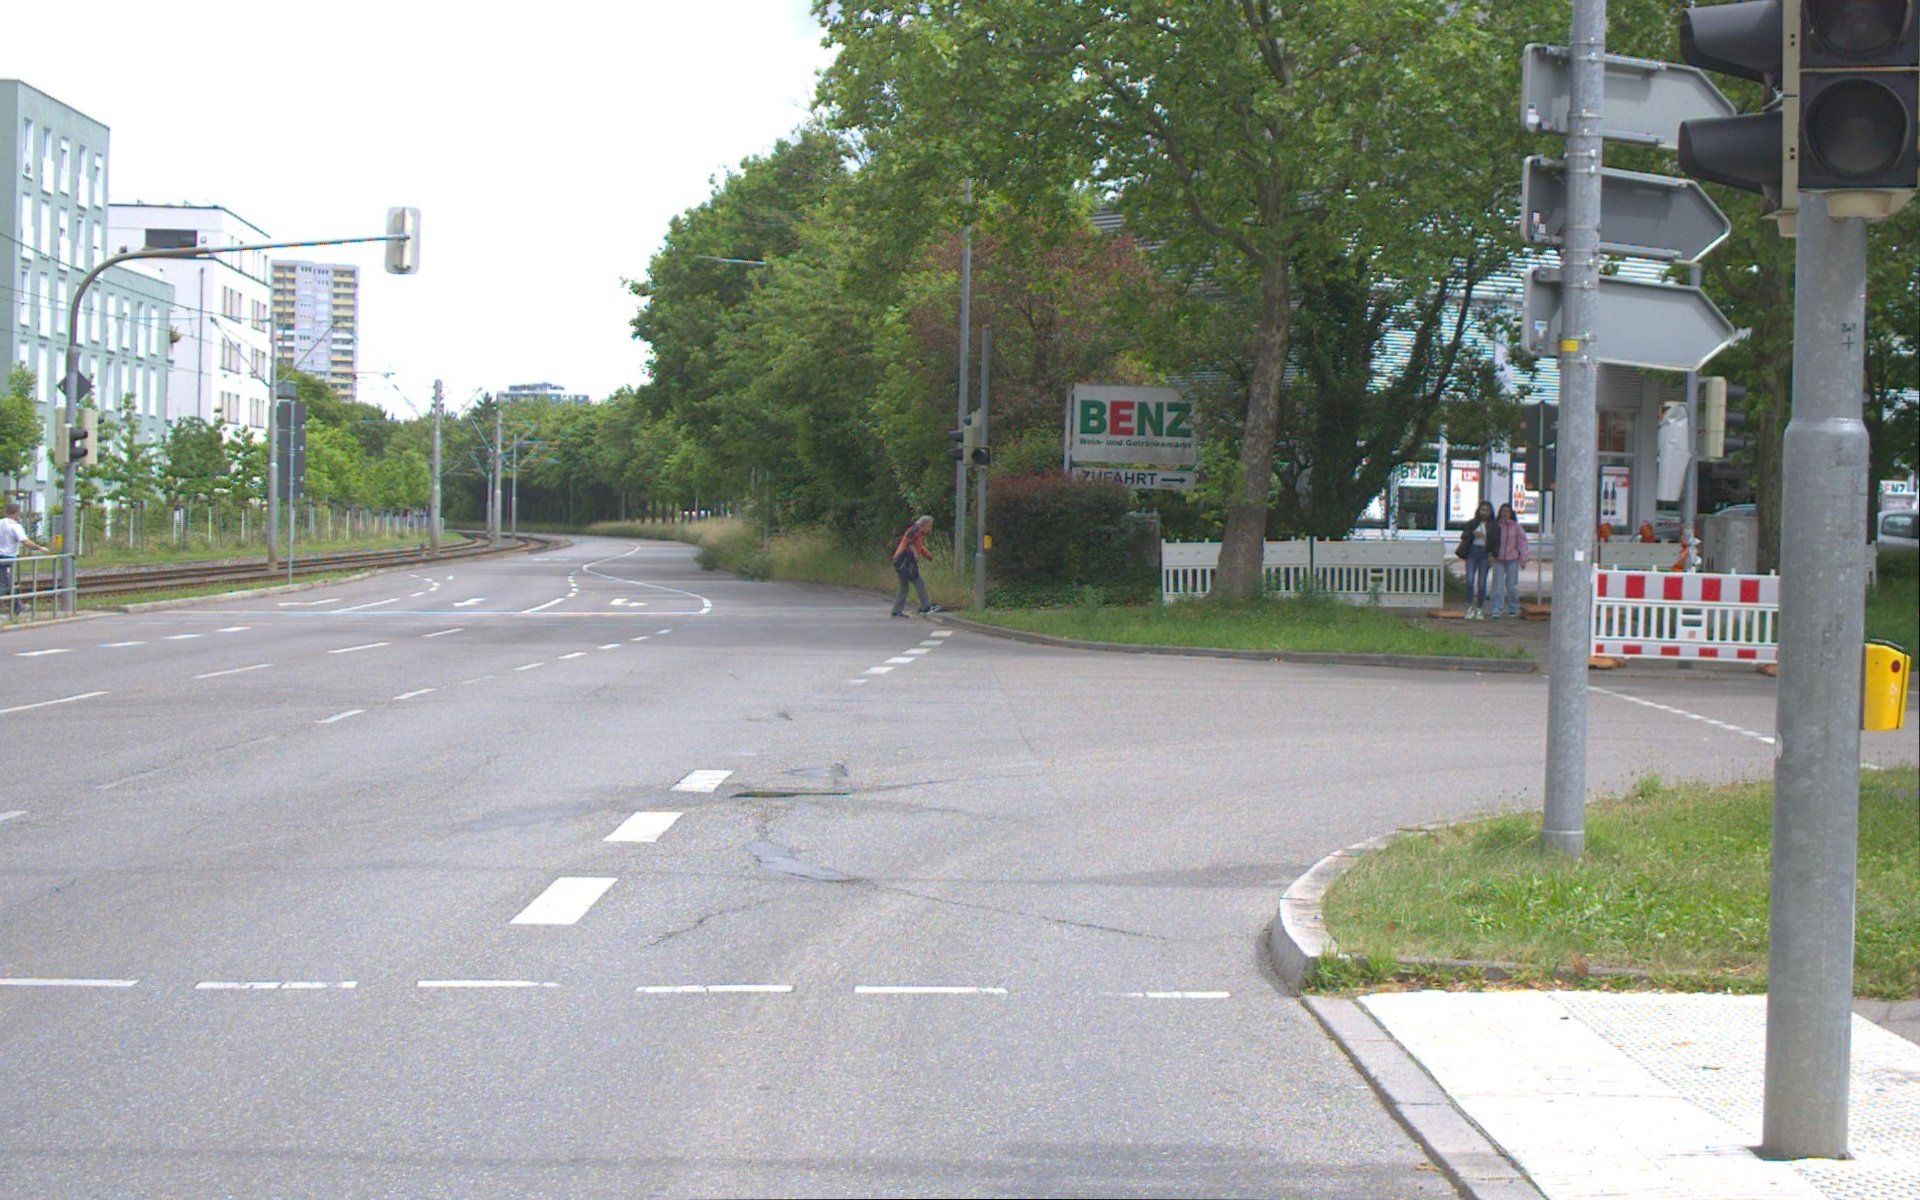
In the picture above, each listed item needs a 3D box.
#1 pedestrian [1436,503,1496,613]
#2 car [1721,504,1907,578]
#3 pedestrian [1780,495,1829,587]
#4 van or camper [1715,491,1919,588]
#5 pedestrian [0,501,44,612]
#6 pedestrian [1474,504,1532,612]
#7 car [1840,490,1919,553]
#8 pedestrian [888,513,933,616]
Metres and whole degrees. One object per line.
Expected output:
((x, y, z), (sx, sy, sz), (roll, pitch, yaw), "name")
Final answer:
((6.954, -0.578, 47.234), (0.718, 1.484, 0.699), (1, 0, 15), "pedestrian")
((17.435, -1.202, 70.240), (3.396, 1.440, 1.485), (1, 0, -18), "car")
((18.636, -1.296, 75.867), (0.804, 1.995, 0.853), (1, 0, -5), "pedestrian")
((15.667, -1.113, 62.005), (1.840, 1.678, 4.001), (-1, 2, -28), "van or camper")
((-13.743, -0.628, 49.411), (0.848, 1.581, 0.796), (0, 1, -40), "pedestrian")
((7.561, -0.583, 47.858), (0.686, 1.484, 0.699), (1, 0, 18), "pedestrian")
((21.823, -1.779, 78.228), (1.480, 1.399, 3.409), (1, 1, -31), "car")
((-0.748, -0.541, 52.017), (0.653, 1.533, 0.773), (1, 0, 0), "pedestrian")
